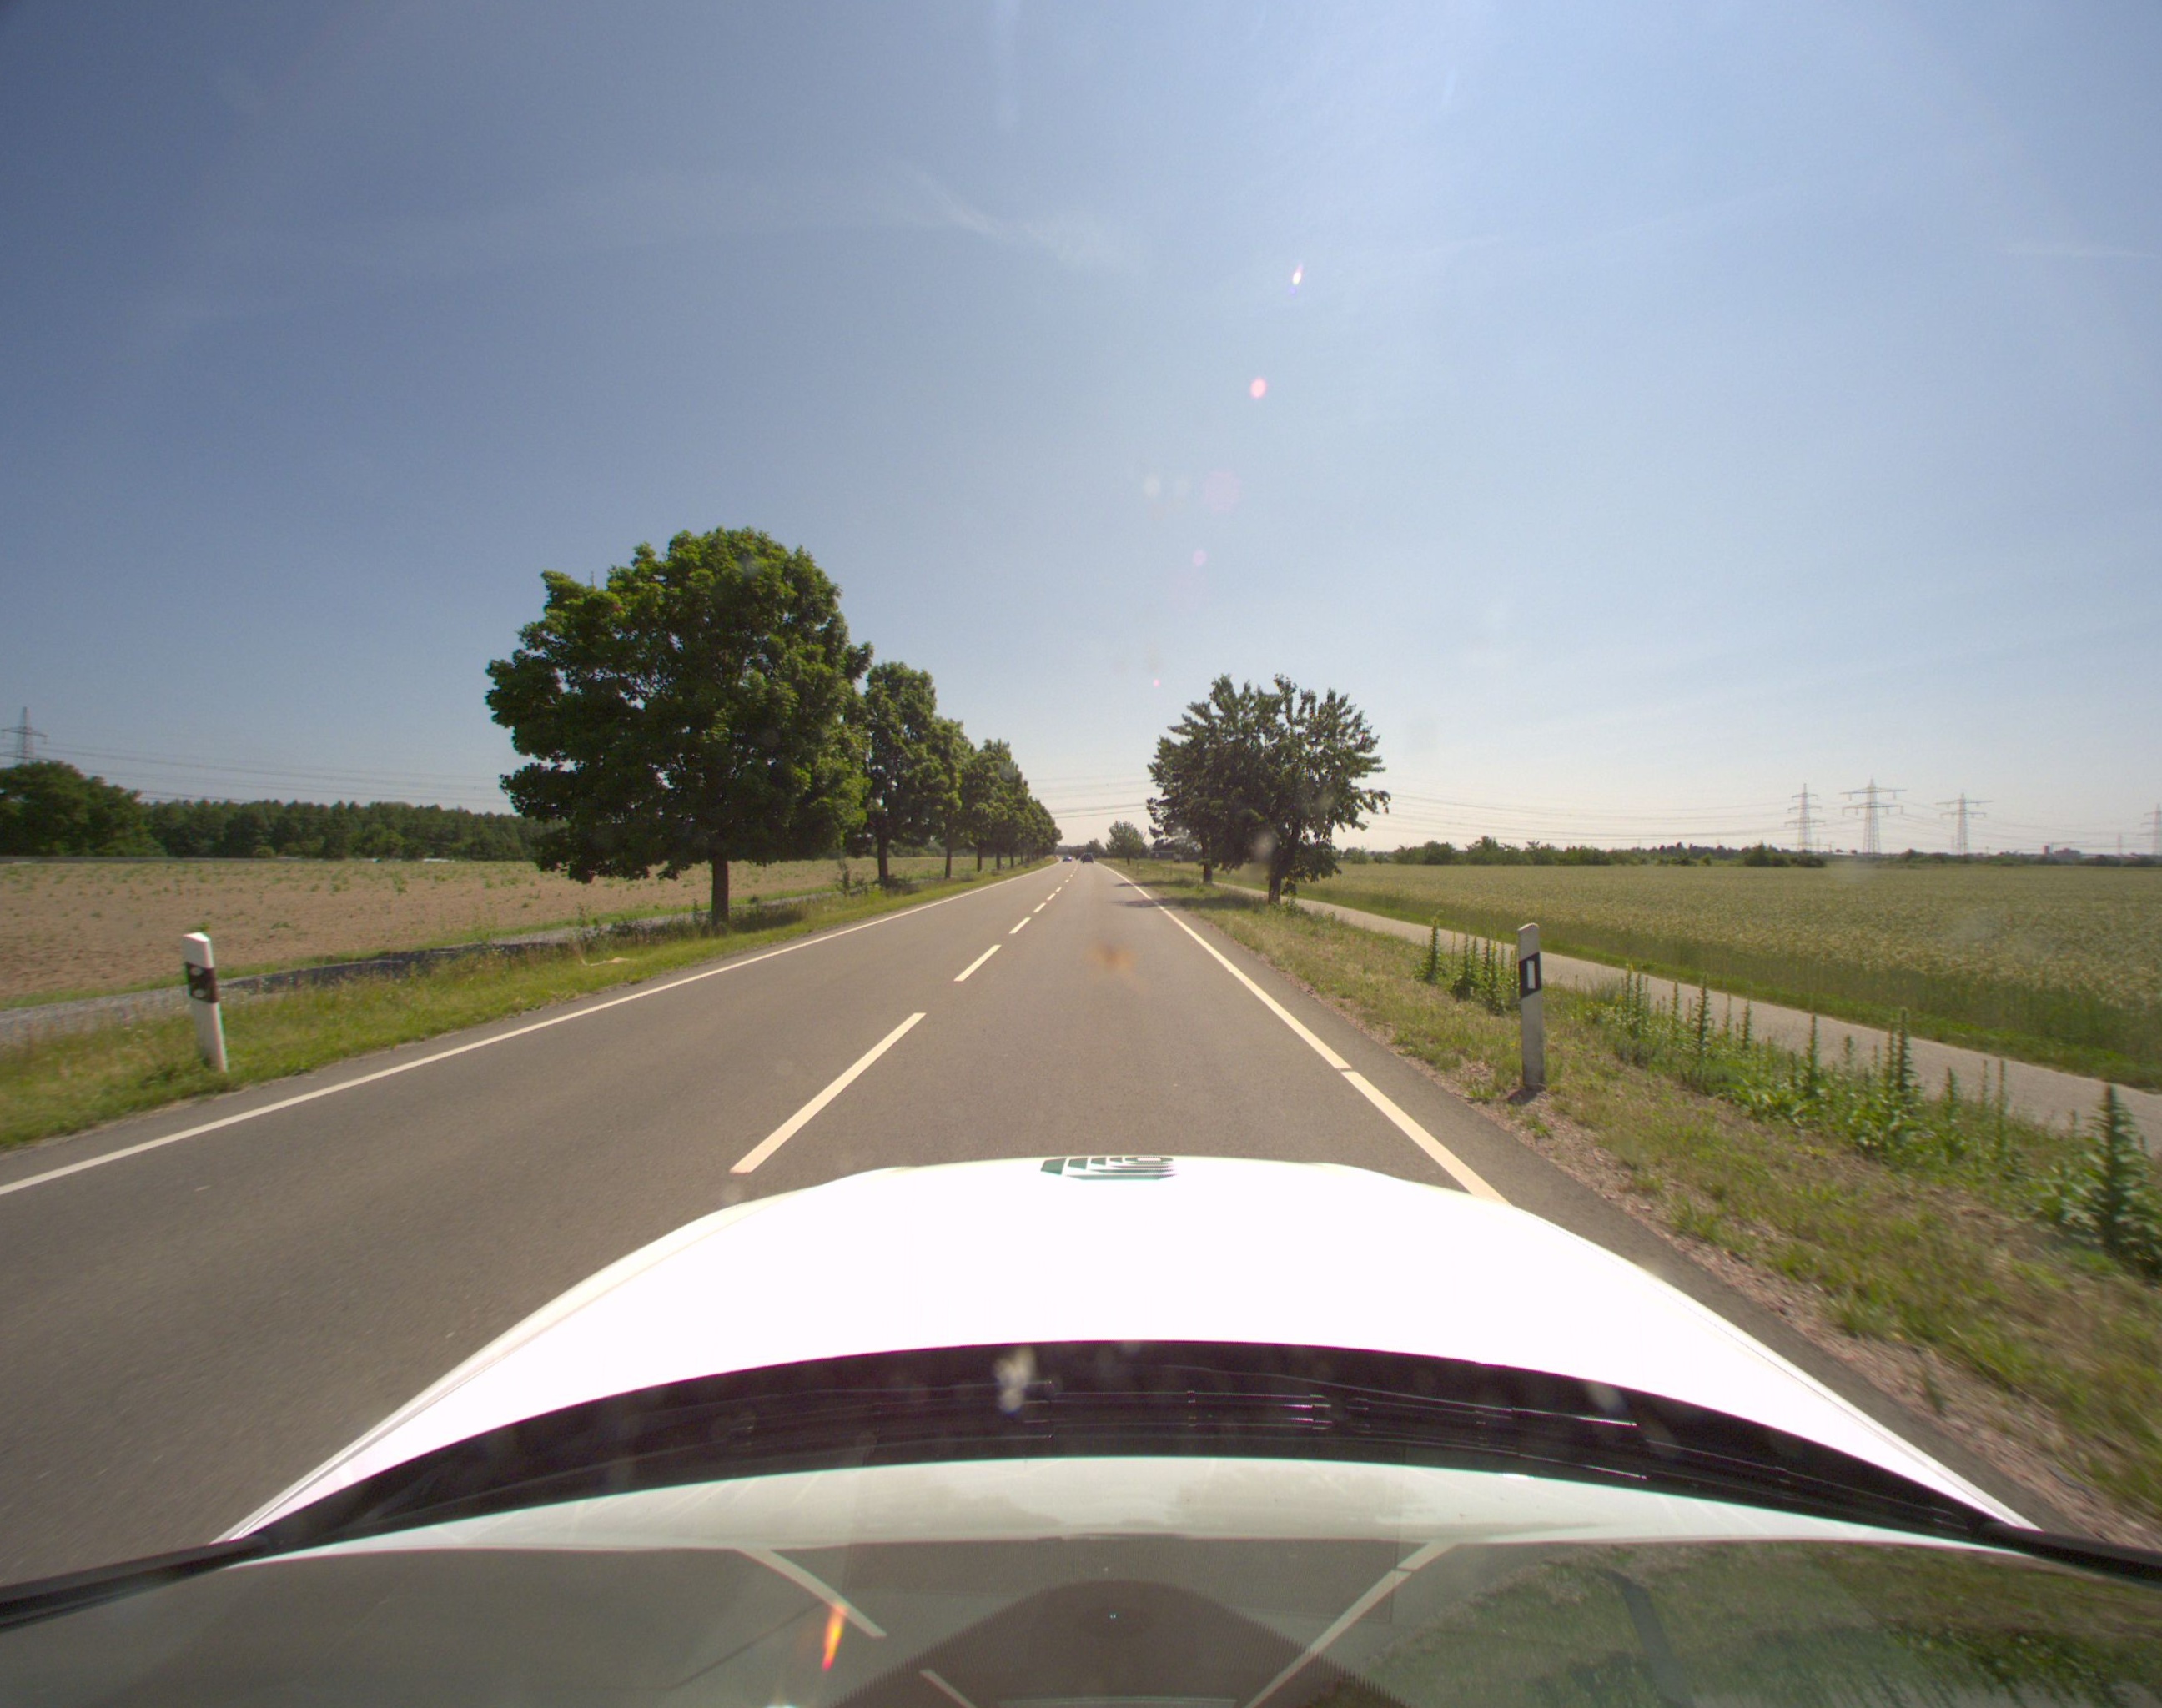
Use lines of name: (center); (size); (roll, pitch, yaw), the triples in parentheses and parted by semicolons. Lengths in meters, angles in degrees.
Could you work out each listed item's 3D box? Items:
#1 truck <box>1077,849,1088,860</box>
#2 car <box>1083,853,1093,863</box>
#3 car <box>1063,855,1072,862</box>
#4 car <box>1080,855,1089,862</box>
truck: (0.433, 0.056, 238.861); (2.366, 3.140, 8.734); (0, 0, -4)
car: (1.245, 0.718, 141.647); (1.710, 1.694, 3.986); (-1, 0, -1)
car: (-2.773, 0.918, 172.582); (1.817, 1.420, 4.585); (-1, 0, -2)
car: (0.812, 0.918, 180.233); (1.847, 1.523, 3.995); (-1, 0, -3)
